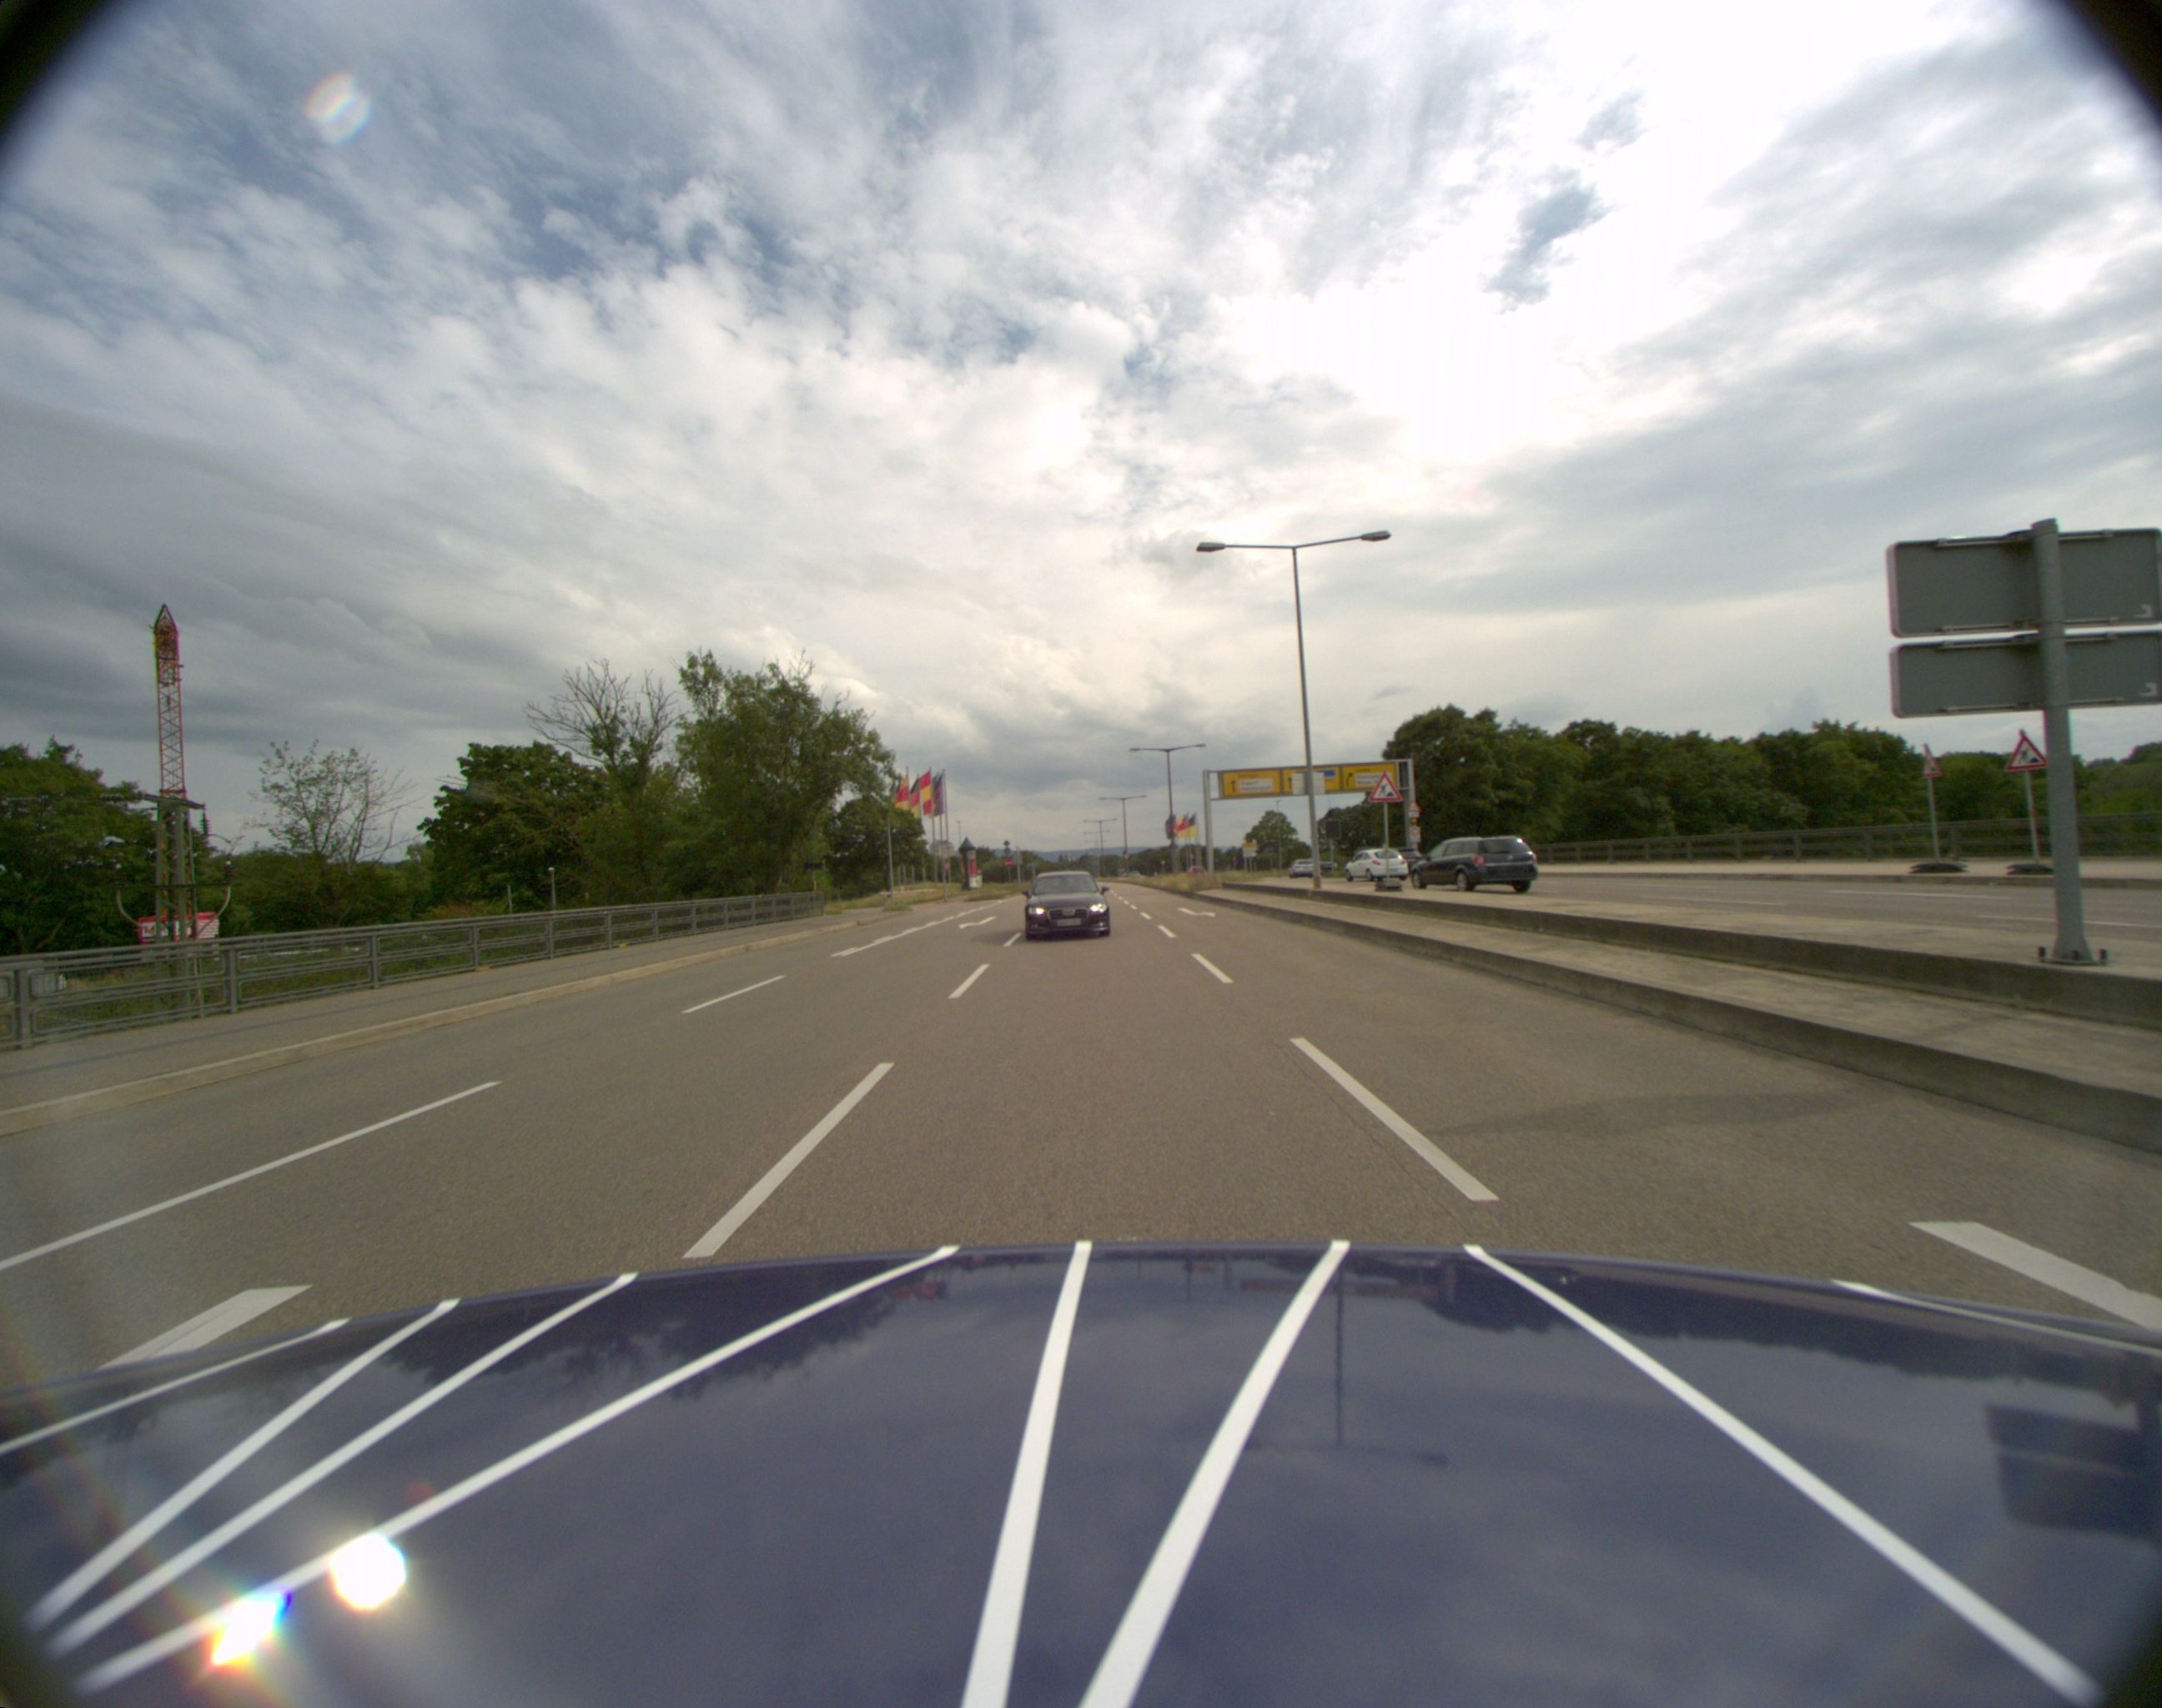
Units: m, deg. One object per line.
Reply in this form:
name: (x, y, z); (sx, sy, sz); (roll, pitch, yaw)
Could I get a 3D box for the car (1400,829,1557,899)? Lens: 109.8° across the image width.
car: (10.716, 0.259, 20.940); (1.892, 1.630, 4.585); (-3, 0, 1)

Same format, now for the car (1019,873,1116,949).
car: (-0.270, 1.184, 17.328); (1.852, 1.355, 4.730); (-3, -1, 0)

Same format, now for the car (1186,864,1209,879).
car: (12.652, 1.929, 82.885); (1.727, 1.523, 3.917); (-3, 0, -2)

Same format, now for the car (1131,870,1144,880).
car: (9.720, 3.584, 131.359); (1.776, 1.597, 3.878); (-3, -2, -1)

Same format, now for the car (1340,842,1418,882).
car: (13.808, 0.370, 35.524); (1.892, 1.630, 4.218); (-3, 0, 0)

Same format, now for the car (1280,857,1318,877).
car: (18.053, 1.035, 63.072); (1.892, 1.523, 4.453); (-3, 0, 0)

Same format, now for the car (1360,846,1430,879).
car: (17.159, 0.454, 41.737); (1.892, 1.630, 4.545); (-3, 0, 0)

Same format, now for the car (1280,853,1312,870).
car: (21.567, 0.774, 76.021); (1.889, 1.597, 4.769); (-4, -3, 30)
